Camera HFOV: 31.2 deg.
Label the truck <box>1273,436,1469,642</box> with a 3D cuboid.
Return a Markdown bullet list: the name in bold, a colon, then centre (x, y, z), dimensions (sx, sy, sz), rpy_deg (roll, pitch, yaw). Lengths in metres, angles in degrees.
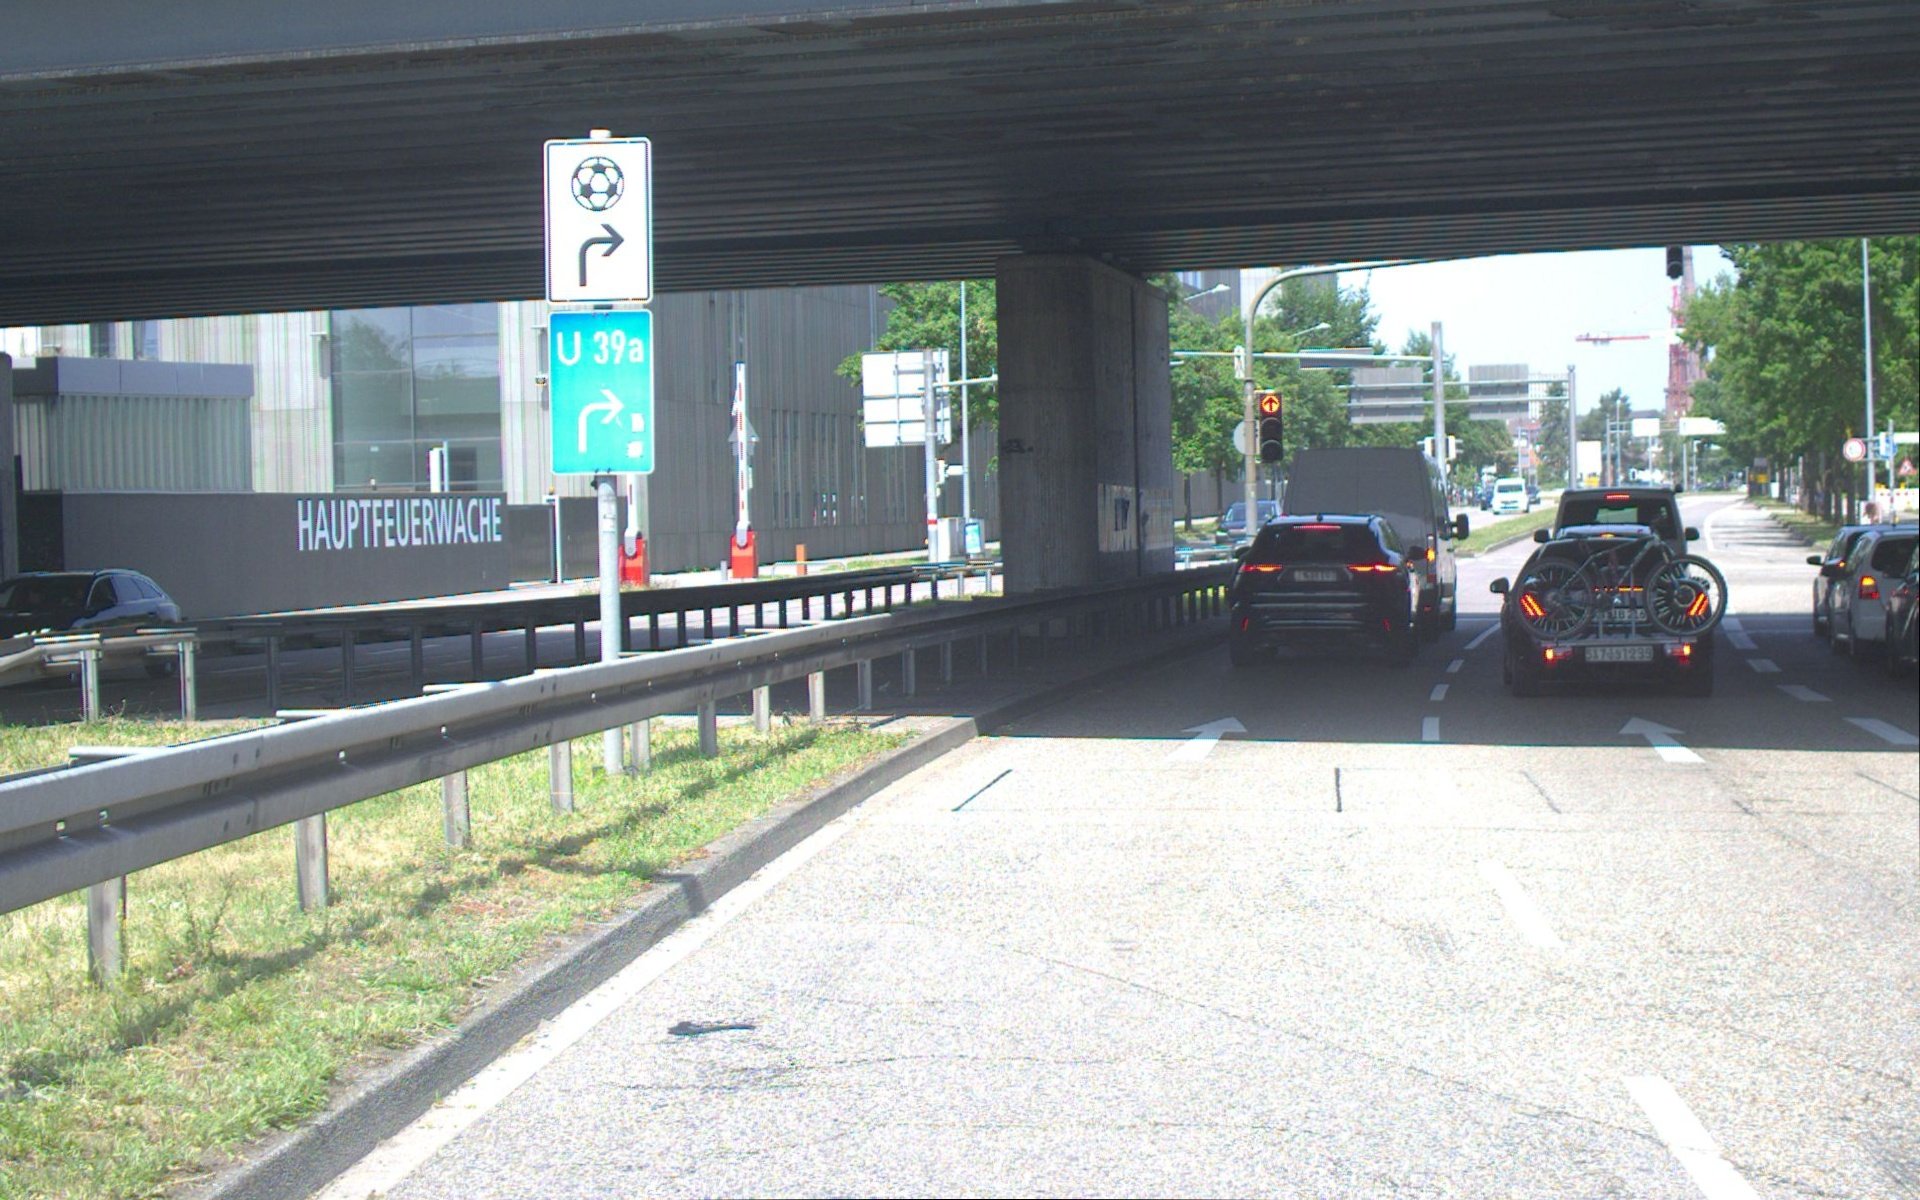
- **truck**: centre (5.468, -0.803, 45.332), dimensions (2.068, 2.529, 3.998), rpy_deg (-2, 1, 13)

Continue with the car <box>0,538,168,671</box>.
- **car**: centre (-11.782, 0.038, 43.823), dimensions (1.855, 1.617, 3.998), rpy_deg (-1, 1, 10)

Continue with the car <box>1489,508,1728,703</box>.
- **car**: centre (5.801, 0.008, 30.935), dimensions (1.957, 1.628, 4.278), rpy_deg (0, 1, 10)

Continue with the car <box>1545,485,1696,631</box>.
- **car**: centre (8.938, -0.572, 46.781), dimensions (1.841, 1.883, 3.999), rpy_deg (-1, 1, 9)

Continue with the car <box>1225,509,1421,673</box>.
- **car**: centre (4.081, -0.117, 38.162), dimensions (1.941, 1.715, 3.999), rpy_deg (-1, 1, 9)

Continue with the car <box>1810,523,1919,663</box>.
- **car**: centre (10.649, -0.106, 38.312), dimensions (1.905, 1.483, 3.999), rpy_deg (-1, 1, 9)

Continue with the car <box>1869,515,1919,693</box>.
- **car**: centre (9.594, 0.001, 31.849), dimensions (1.841, 1.563, 3.999), rpy_deg (-1, 1, 9)

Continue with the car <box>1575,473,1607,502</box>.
- **car**: centre (45.183, -8.050, 246.229), dimensions (1.994, 2.007, 3.999), rpy_deg (-1, 1, 7)

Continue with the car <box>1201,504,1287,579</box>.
- **car**: centre (8.223, -1.702, 99.250), dimensions (1.994, 2.007, 3.998), rpy_deg (-3, 0, 10)

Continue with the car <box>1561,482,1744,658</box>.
- **car**: centre (7.853, -0.345, 39.280), dimensions (1.841, 1.883, 3.999), rpy_deg (-1, 1, 9)

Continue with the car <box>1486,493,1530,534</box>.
- **car**: centre (28.761, -4.526, 180.386), dimensions (1.994, 2.007, 3.998), rpy_deg (-3, 0, 11)
